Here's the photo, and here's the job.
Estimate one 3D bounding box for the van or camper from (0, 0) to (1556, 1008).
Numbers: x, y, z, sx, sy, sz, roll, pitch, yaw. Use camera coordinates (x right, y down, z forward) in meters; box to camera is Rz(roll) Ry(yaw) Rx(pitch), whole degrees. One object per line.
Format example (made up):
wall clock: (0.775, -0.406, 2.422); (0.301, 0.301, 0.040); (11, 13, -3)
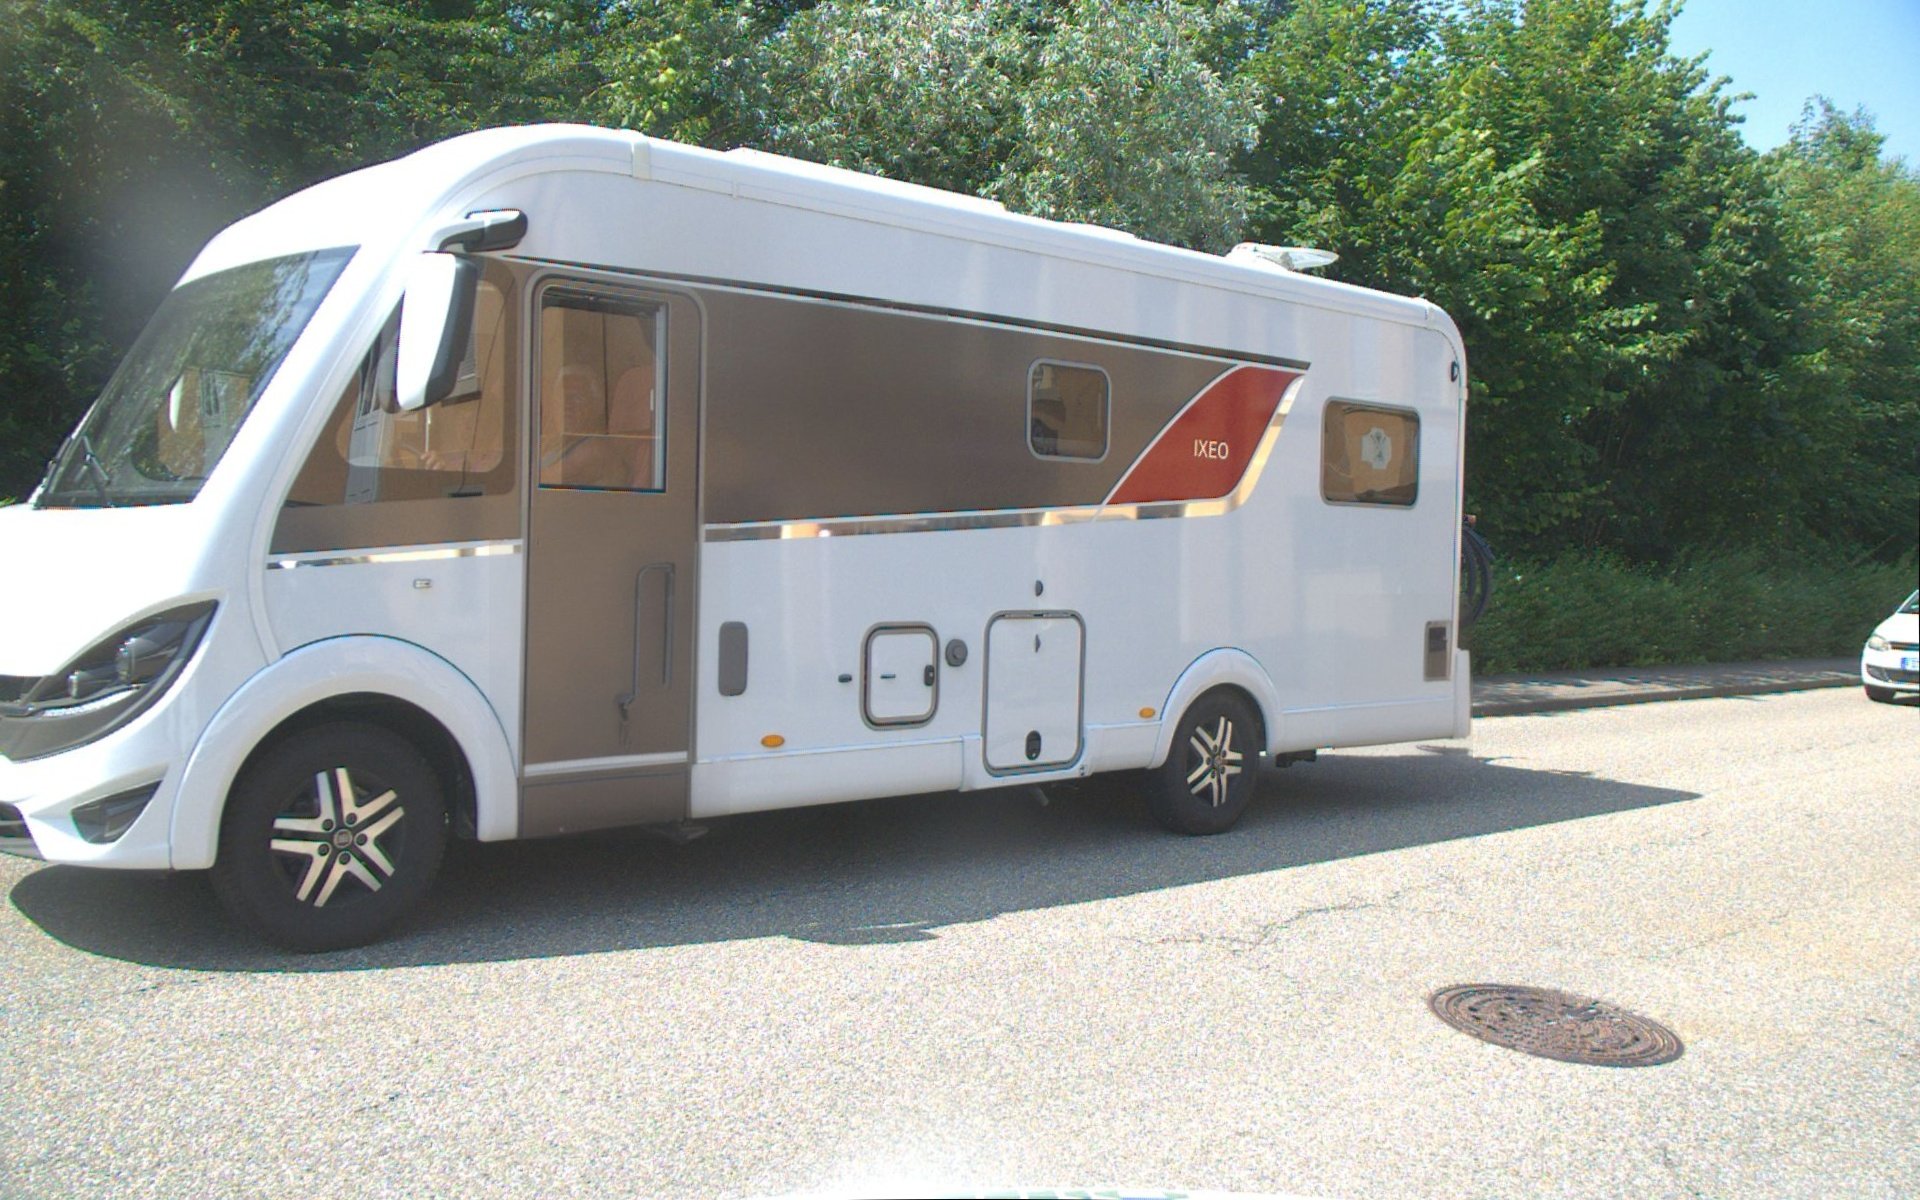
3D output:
van or camper: (-0.243, -0.460, 7.977); (7.982, 3.004, 2.330); (0, 3, -42)

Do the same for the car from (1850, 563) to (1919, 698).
car: (11.728, 0.363, 18.883); (3.795, 1.430, 1.585); (1, 1, -43)
